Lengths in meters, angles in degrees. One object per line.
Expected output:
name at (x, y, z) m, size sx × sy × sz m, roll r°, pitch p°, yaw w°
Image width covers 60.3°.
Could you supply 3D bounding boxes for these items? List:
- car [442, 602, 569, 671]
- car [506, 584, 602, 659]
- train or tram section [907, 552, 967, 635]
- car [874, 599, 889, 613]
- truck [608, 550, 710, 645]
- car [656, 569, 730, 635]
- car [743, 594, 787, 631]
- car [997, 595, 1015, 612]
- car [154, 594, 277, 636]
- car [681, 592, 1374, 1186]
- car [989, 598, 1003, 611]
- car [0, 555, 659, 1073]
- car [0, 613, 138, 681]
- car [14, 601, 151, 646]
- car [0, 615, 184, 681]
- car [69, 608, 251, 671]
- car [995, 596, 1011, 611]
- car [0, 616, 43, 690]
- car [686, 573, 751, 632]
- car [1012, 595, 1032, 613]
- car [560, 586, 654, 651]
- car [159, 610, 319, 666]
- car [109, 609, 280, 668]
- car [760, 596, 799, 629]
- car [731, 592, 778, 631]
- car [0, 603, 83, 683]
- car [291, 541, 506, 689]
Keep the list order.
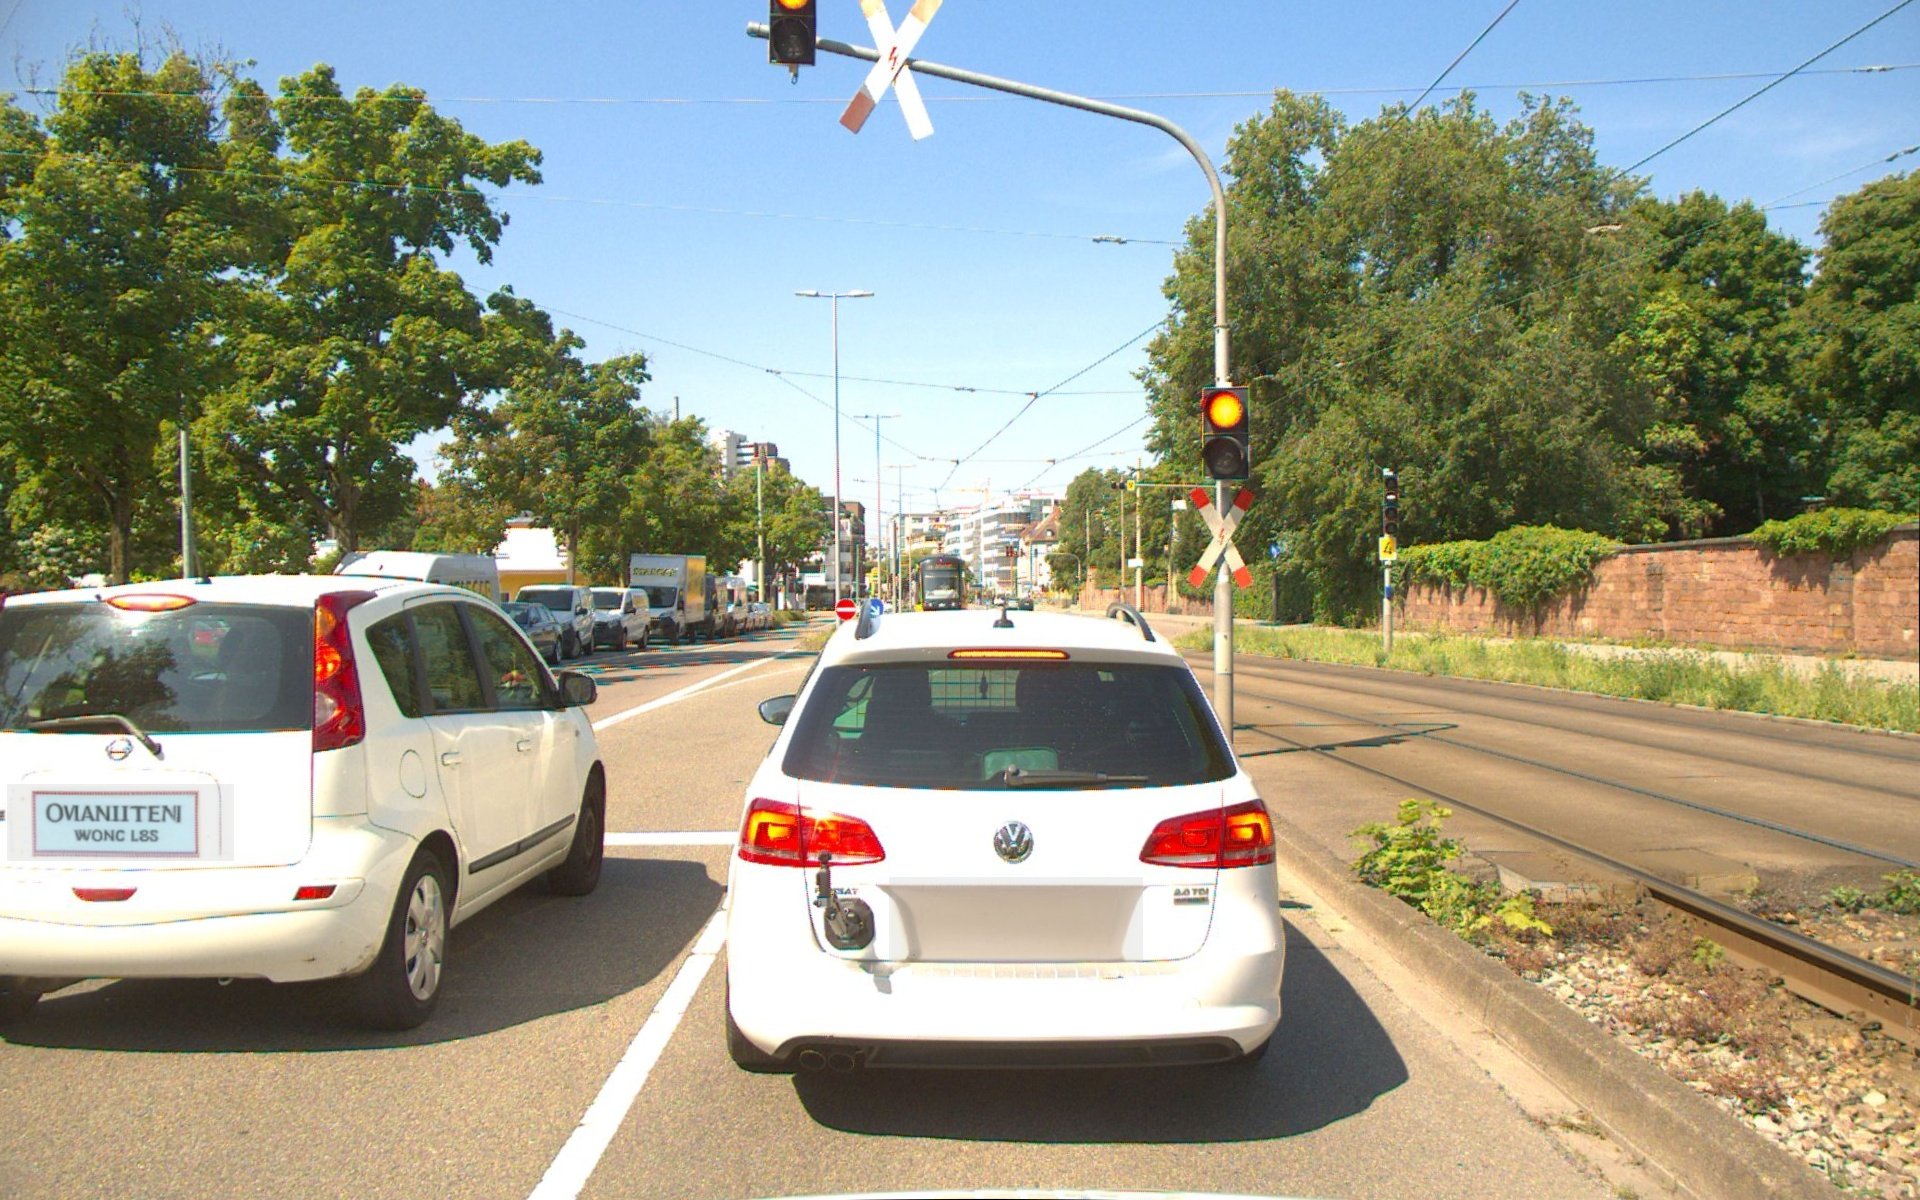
car at (-10.525, 0.808, 38.583) m, size 1.826 × 1.440 × 4.278 m, roll 1°, pitch 0°, yaw -1°
car at (-11.012, 0.537, 45.132) m, size 1.828 × 1.900 × 5.068 m, roll 1°, pitch 0°, yaw -6°
train or tram section at (-1.189, -0.346, 85.516) m, size 2.812 × 3.923 × 12.389 m, roll -1°, pitch 0°, yaw -1°
car at (-8.969, 0.698, 189.457) m, size 1.671 × 1.499 × 4.586 m, roll -1°, pitch 0°, yaw -3°
truck at (-10.833, -0.102, 60.146) m, size 2.371 × 3.205 × 6.996 m, roll 1°, pitch 0°, yaw 0°
car at (-10.926, 0.074, 68.143) m, size 2.079 × 2.560 × 5.733 m, roll 1°, pitch 0°, yaw 0°
car at (-10.762, 0.657, 91.503) m, size 1.826 × 1.900 × 5.412 m, roll 1°, pitch 0°, yaw -1°
car at (5.473, 0.383, 196.171) m, size 1.826 × 1.900 × 5.060 m, roll 1°, pitch 0°, yaw -2°
car at (-34.378, 0.678, 76.499) m, size 4.698 × 1.819 × 2.062 m, roll 1°, pitch 0°, yaw -5°
car at (0.146, 0.720, 6.189) m, size 1.726 × 1.455 × 3.999 m, roll -1°, pitch 0°, yaw -1°
car at (5.425, 0.600, 251.571) m, size 1.826 × 1.900 × 5.060 m, roll 1°, pitch 0°, yaw -2°
car at (-2.563, 0.640, 7.307) m, size 1.628 × 1.575 × 4.546 m, roll 0°, pitch 0°, yaw 0°
car at (-21.618, 1.122, 38.629) m, size 3.909 × 1.440 × 1.728 m, roll -2°, pitch 0°, yaw -5°
car at (-37.814, 0.994, 71.371) m, size 4.698 × 1.819 × 2.062 m, roll 1°, pitch 0°, yaw -5°
car at (-21.733, 1.175, 41.237) m, size 3.909 × 1.440 × 1.728 m, roll -2°, pitch 0°, yaw -5°
car at (-21.111, 1.032, 43.778) m, size 3.909 × 1.440 × 1.728 m, roll -2°, pitch 0°, yaw -5°
car at (5.490, 0.459, 210.972) m, size 1.826 × 1.900 × 5.060 m, roll 1°, pitch 0°, yaw -2°
car at (-20.733, 1.129, 32.919) m, size 3.909 × 1.440 × 1.728 m, roll -2°, pitch 0°, yaw -5°
car at (-10.989, 0.107, 75.579) m, size 2.079 × 2.560 × 5.733 m, roll 1°, pitch 0°, yaw 0°
car at (6.819, 0.465, 181.053) m, size 1.826 × 1.900 × 5.060 m, roll 1°, pitch 0°, yaw -2°
car at (-10.967, 0.535, 51.720) m, size 1.826 × 1.900 × 5.412 m, roll 1°, pitch 0°, yaw -1°
car at (-21.277, 1.110, 48.924) m, size 3.909 × 1.440 × 1.728 m, roll -2°, pitch 0°, yaw -5°
car at (-21.289, 1.065, 46.106) m, size 3.909 × 1.440 × 1.728 m, roll -2°, pitch 0°, yaw -5°
car at (-10.710, 0.722, 98.420) m, size 1.826 × 1.900 × 5.412 m, roll 1°, pitch 0°, yaw -1°
car at (-10.492, 0.569, 84.693) m, size 1.826 × 1.900 × 5.412 m, roll 1°, pitch 0°, yaw -1°
car at (-21.077, 0.969, 35.113) m, size 3.909 × 1.638 × 1.728 m, roll -2°, pitch 0°, yaw -5°
car at (-10.745, 0.252, 32.200) m, size 2.079 × 2.560 × 5.817 m, roll 1°, pitch 0°, yaw 1°
